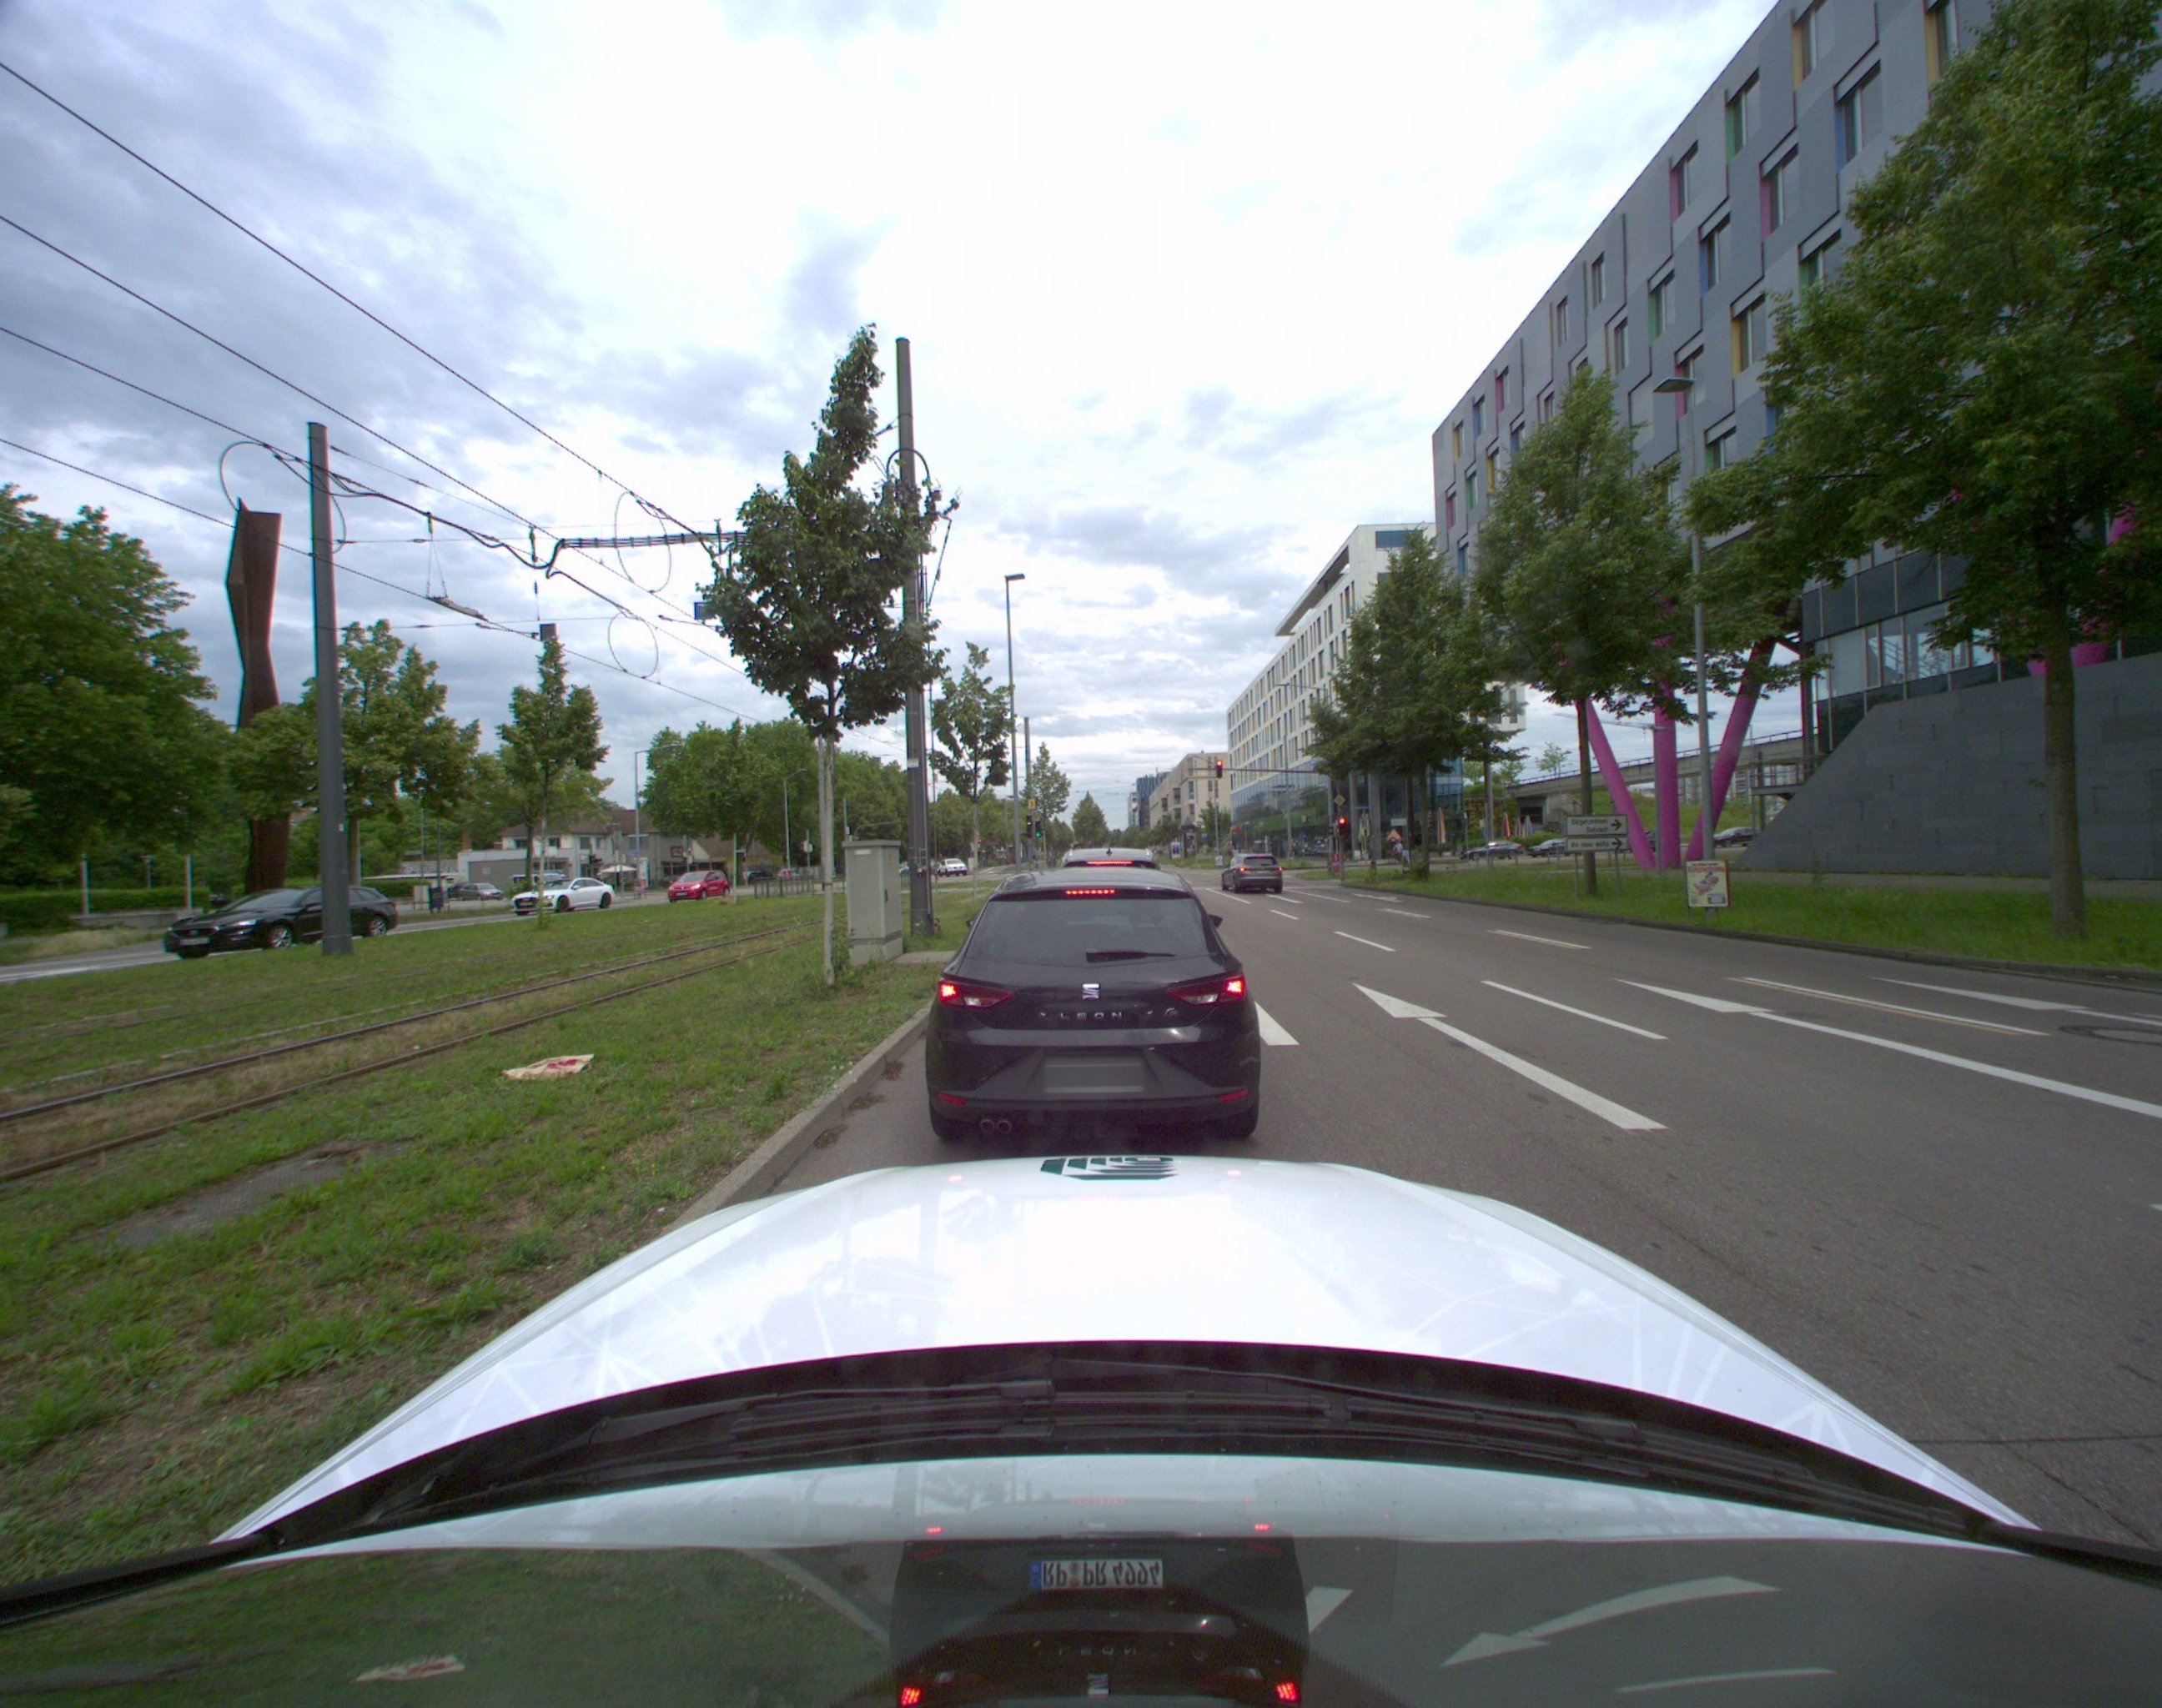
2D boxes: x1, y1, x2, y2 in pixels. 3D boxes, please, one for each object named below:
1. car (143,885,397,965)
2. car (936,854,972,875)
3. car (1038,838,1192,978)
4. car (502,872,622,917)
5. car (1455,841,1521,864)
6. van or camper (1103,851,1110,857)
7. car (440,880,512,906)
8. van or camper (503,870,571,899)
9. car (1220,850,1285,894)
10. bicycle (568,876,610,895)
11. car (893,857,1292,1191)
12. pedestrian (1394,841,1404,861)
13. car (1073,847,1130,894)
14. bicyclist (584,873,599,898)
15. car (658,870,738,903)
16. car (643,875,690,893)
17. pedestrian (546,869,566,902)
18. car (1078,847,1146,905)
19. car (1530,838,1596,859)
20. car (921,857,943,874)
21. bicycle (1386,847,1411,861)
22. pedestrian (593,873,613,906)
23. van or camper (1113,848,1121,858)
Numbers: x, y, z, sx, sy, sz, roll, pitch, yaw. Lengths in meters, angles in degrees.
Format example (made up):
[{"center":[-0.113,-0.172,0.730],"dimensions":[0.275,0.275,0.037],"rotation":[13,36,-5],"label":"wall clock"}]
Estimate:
[{"center":[-17.985,1.495,18.387],"dimensions":[1.798,1.377,4.051],"rotation":[-2,0,-4],"label":"car"},{"center":[-11.429,0.949,73.093],"dimensions":[2.004,1.750,4.165],"rotation":[-2,0,-25],"label":"car"},{"center":[0.476,0.649,11.804],"dimensions":[1.796,1.624,4.002],"rotation":[-2,0,2],"label":"car"},{"center":[-22.330,1.685,35.303],"dimensions":[1.805,1.588,5.078],"rotation":[-2,0,1],"label":"car"},{"center":[31.847,-0.126,63.852],"dimensions":[4.233,1.615,1.759],"rotation":[-2,0,3],"label":"car"},{"center":[8.013,-0.035,254.515],"dimensions":[1.986,1.615,4.792],"rotation":[-1,1,2],"label":"van or camper"},{"center":[-48.166,3.113,64.891],"dimensions":[4.258,1.816,2.111],"rotation":[-2,0,6],"label":"car"},{"center":[-41.617,2.319,62.317],"dimensions":[5.212,2.013,2.481],"rotation":[-2,0,34],"label":"van or camper"},{"center":[6.544,0.635,31.487],"dimensions":[1.741,1.499,4.271],"rotation":[-2,1,2],"label":"car"},{"center":[-35.702,2.285,59.110],"dimensions":[2.520,1.202,0.734],"rotation":[-2,0,-25],"label":"bicycle"},{"center":[0.087,0.754,5.582],"dimensions":[1.737,1.417,4.001],"rotation":[-1,0,1],"label":"car"},{"center":[25.704,-0.247,65.831],"dimensions":[0.612,1.604,0.619],"rotation":[-2,0,4],"label":"pedestrian"},{"center":[0.851,0.579,31.255],"dimensions":[1.985,1.682,4.005],"rotation":[-1,0,4],"label":"car"},{"center":[-35.567,2.282,59.178],"dimensions":[0.854,1.721,0.715],"rotation":[-2,0,-25],"label":"bicyclist"},{"center":[-18.728,1.546,40.035],"dimensions":[1.805,1.377,4.270],"rotation":[-2,0,1],"label":"car"},{"center":[-47.136,3.352,92.698],"dimensions":[4.258,1.816,2.111],"rotation":[-2,0,6],"label":"car"},{"center":[-33.239,2.007,51.582],"dimensions":[0.910,2.013,0.942],"rotation":[-2,0,-40],"label":"pedestrian"},{"center":[1.080,0.638,26.185],"dimensions":[1.984,1.682,4.005],"rotation":[-1,0,5],"label":"car"},{"center":[37.863,-0.426,64.029],"dimensions":[4.063,1.455,1.759],"rotation":[-2,0,3],"label":"car"},{"center":[-16.412,1.204,89.850],"dimensions":[1.991,1.750,3.991],"rotation":[-2,0,-6],"label":"car"},{"center":[25.681,0.023,65.837],"dimensions":[1.784,1.085,0.618],"rotation":[-2,0,3],"label":"bicycle"},{"center":[-27.655,2.047,47.149],"dimensions":[0.779,1.832,0.771],"rotation":[-2,0,-16],"label":"pedestrian"},{"center":[9.023,-0.185,205.060],"dimensions":[2.101,2.355,4.927],"rotation":[-1,2,2],"label":"van or camper"}]
